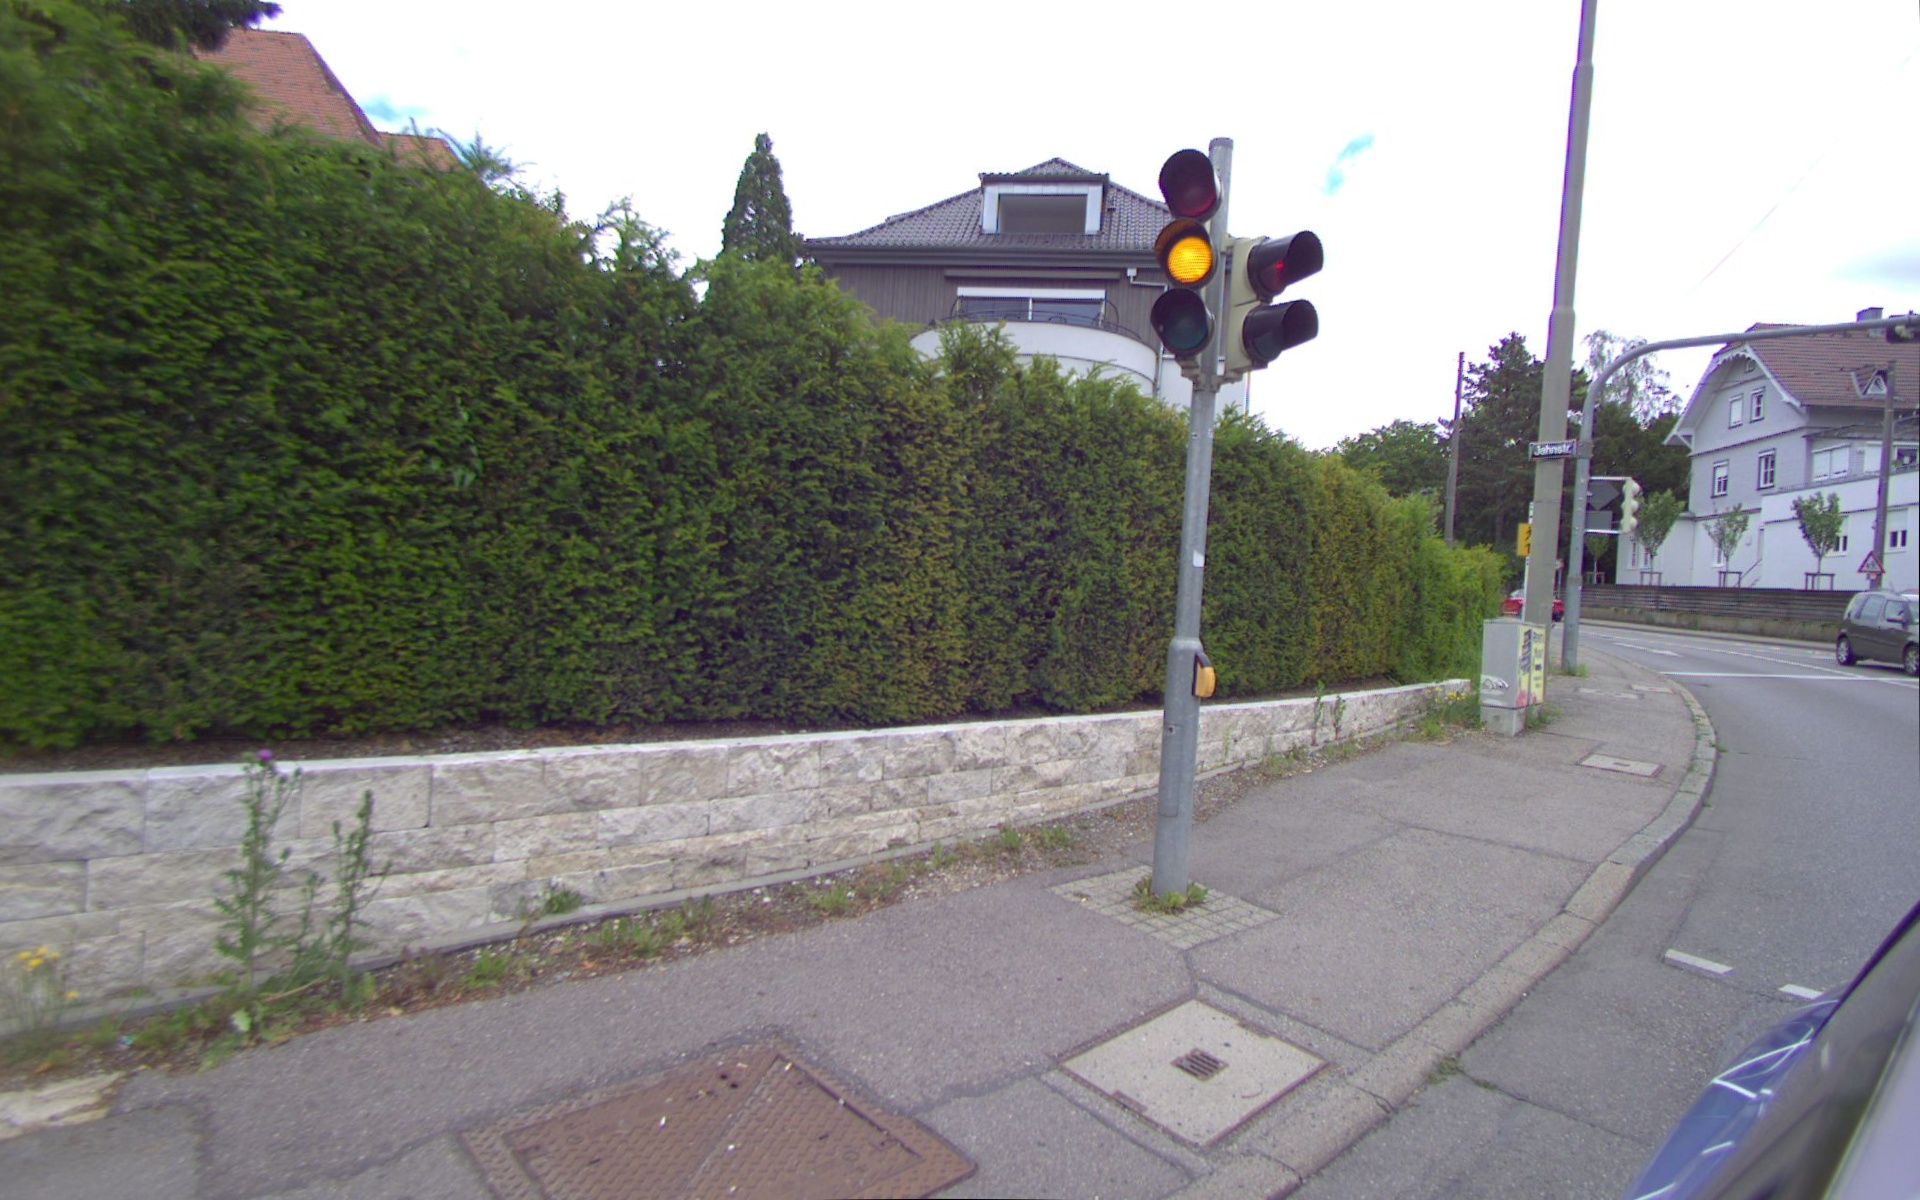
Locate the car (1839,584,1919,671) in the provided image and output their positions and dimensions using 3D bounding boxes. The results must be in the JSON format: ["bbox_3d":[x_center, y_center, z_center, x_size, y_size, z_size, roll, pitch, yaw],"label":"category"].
[{"bbox_3d":[19.011,0.532,19.606,1.598,1.599,3.976,2,2,20],"label":"car"}]

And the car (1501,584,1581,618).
[{"bbox_3d":[27.928,0.022,48.792,1.778,1.372,3.993,5,2,7],"label":"car"}]
